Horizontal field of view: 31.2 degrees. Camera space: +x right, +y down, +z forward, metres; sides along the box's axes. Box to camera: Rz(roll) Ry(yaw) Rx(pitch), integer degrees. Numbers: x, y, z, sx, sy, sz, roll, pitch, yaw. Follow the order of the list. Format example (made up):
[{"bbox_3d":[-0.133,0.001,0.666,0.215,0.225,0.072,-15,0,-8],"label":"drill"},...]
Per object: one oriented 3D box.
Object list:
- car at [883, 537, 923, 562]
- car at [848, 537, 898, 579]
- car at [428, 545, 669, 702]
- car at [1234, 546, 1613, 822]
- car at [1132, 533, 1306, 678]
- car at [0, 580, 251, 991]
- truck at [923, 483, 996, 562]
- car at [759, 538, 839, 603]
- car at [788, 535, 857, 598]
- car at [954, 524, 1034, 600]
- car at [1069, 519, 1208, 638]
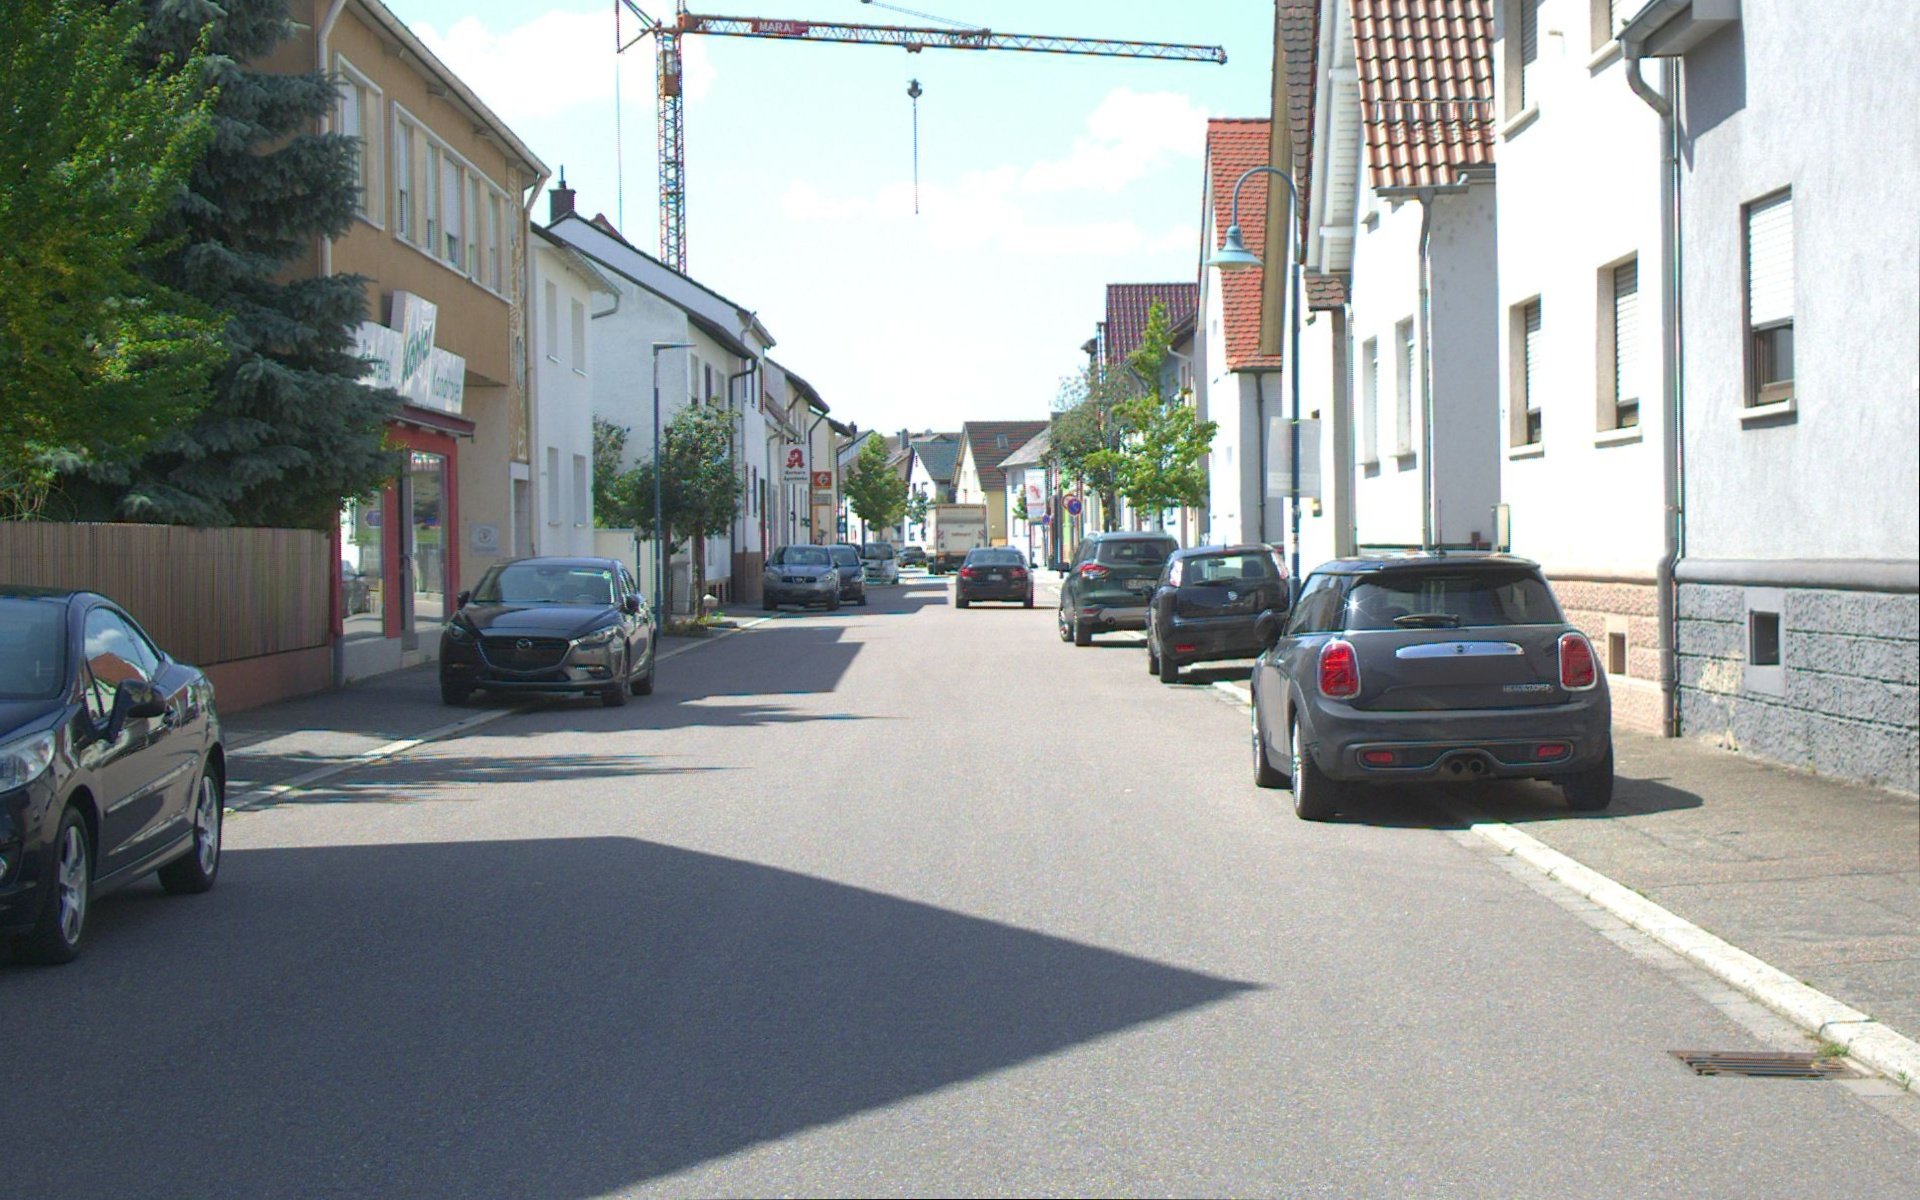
[{"bbox_3d":[-4.092,-3.622,246.647,1.820,1.747,4.230,-2,1,-16],"label":"car"},{"bbox_3d":[-3.272,-1.602,130.260,1.723,1.550,4.172,1,1,1],"label":"car"},{"bbox_3d":[-4.098,0.189,34.876,1.768,1.455,4.436,-1,1,2],"label":"car"},{"bbox_3d":[2.583,0.413,19.894,1.688,1.417,3.657,-1,1,0],"label":"car"},{"bbox_3d":[2.929,0.018,39.537,1.617,1.490,3.972,-3,1,0],"label":"car"},{"bbox_3d":[-4.180,0.632,13.995,1.761,1.369,4.067,0,1,0],"label":"car"},{"bbox_3d":[-0.108,-3.979,178.768,3.378,3.852,13.927,-2,1,-1],"label":"truck"},{"bbox_3d":[-3.923,-0.750,84.117,1.758,1.519,4.289,-1,1,0],"label":"car"},{"bbox_3d":[-3.610,-0.912,90.842,1.653,1.603,4.061,-1,1,0],"label":"car"},{"bbox_3d":[0.805,-0.920,83.026,1.782,1.747,4.000,-2,1,-1],"label":"car"},{"bbox_3d":[2.664,-0.348,52.056,1.728,1.711,4.276,-1,1,-2],"label":"car"}]
